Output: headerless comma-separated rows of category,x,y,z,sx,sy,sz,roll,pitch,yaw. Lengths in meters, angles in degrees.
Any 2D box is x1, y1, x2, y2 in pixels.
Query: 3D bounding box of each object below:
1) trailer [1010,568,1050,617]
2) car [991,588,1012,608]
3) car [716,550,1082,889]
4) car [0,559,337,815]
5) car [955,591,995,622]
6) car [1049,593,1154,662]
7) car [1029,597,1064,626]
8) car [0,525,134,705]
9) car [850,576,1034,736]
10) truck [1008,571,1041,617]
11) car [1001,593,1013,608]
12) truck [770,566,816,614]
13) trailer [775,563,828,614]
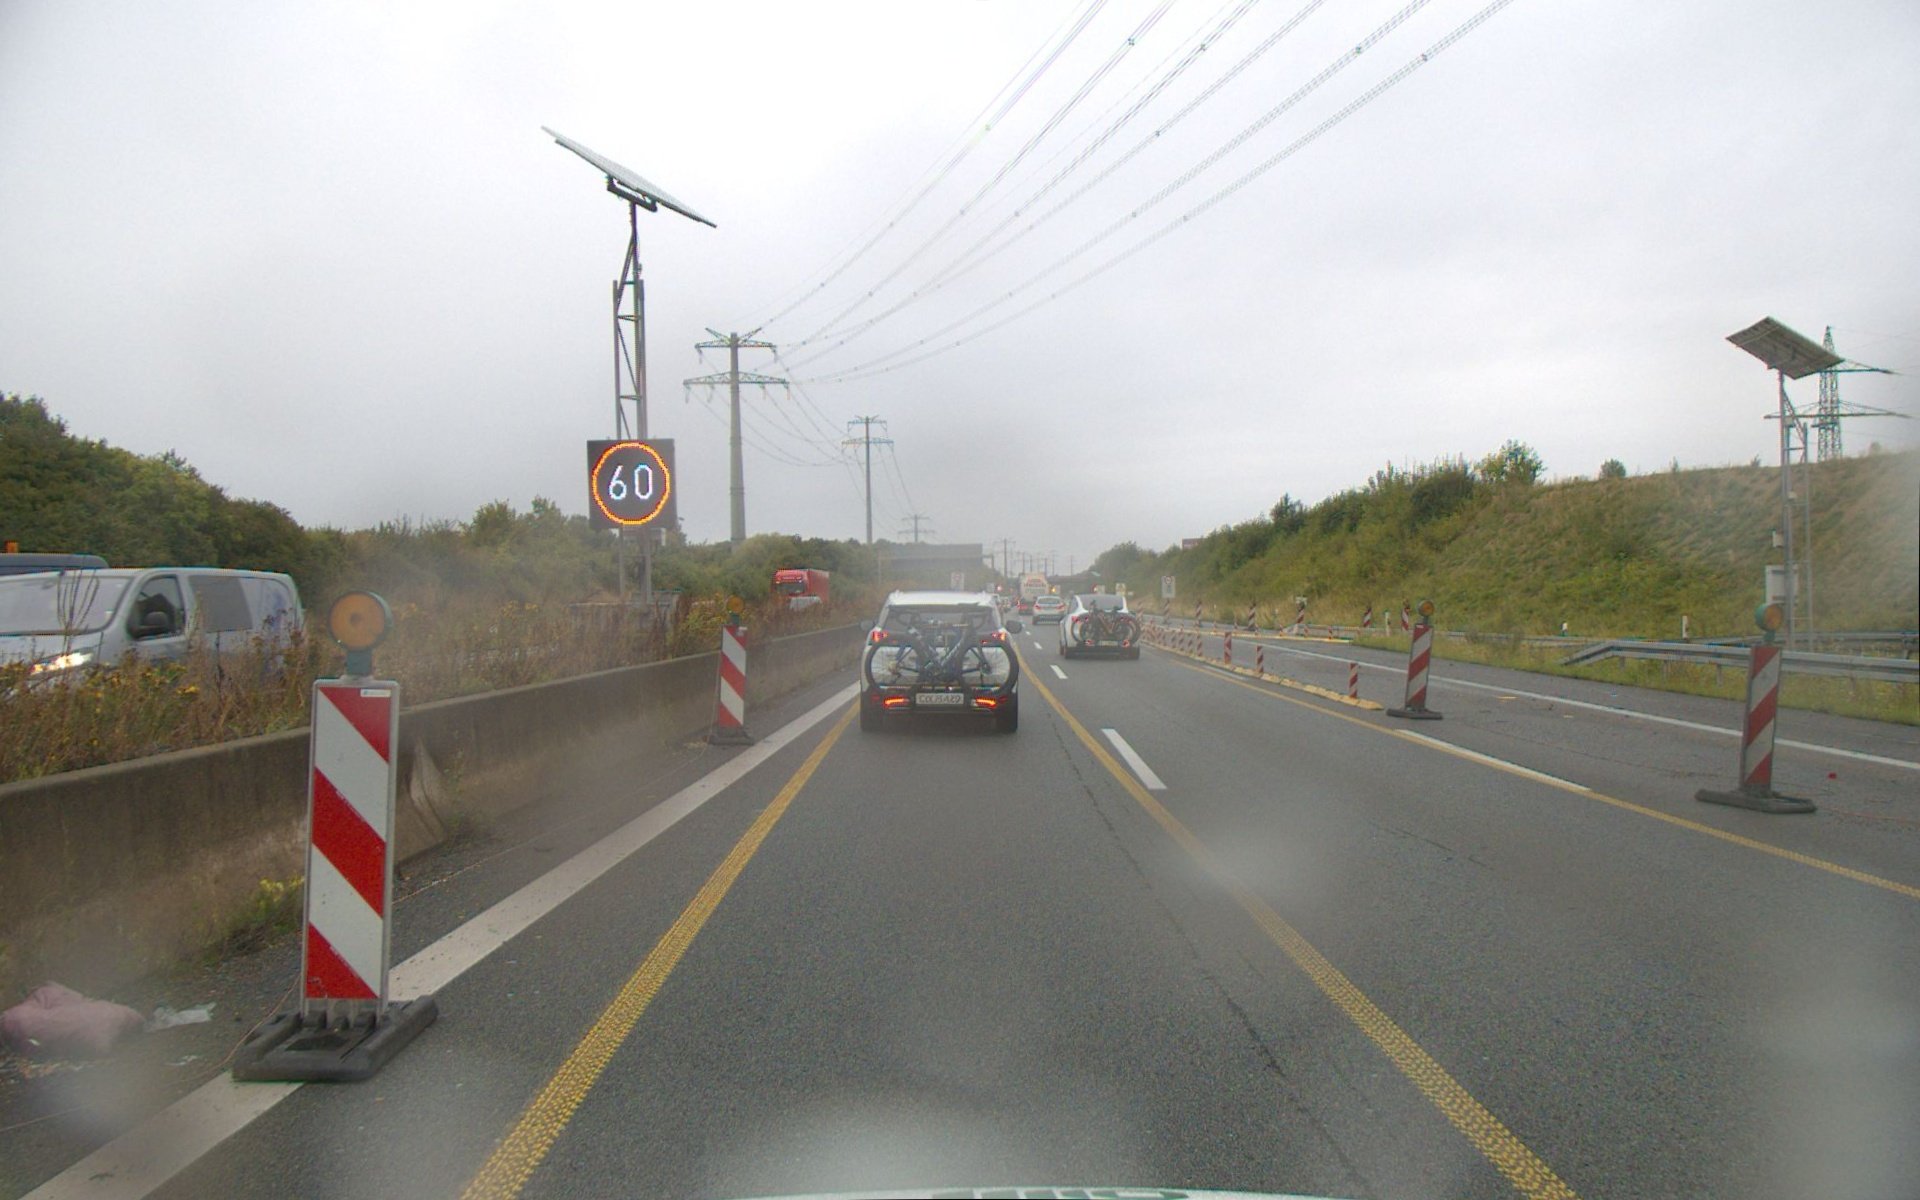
trailer,5.981,-0.571,142.134,2.584,3.961,10.538,1,-1,-2
car,4.324,-0.209,172.719,1.953,2.049,3.998,1,-1,-2
car,-0.338,0.634,10.991,1.953,1.791,4.000,-1,0,0
car,-7.933,0.701,15.975,1.731,2.049,5.254,1,0,1
car,0.782,0.317,88.022,1.953,1.611,3.998,0,0,-2
car,3.556,0.655,42.595,2.004,1.624,5.799,1,0,-2
car,4.732,0.620,90.779,1.831,1.561,4.197,0,0,1
car,-15.201,0.215,25.492,2.009,2.655,5.846,1,-1,-1
car,-0.169,0.575,19.352,1.888,1.639,4.595,0,0,0
truck,5.761,-0.511,148.529,2.591,3.959,4.028,1,-1,-2
car,6.477,0.117,228.880,1.619,2.049,4.001,0,0,2
truck,-12.847,-0.727,127.597,2.962,3.593,4.926,1,-1,0
trailer,-12.809,-0.826,134.813,2.975,3.881,13.976,1,-1,0
